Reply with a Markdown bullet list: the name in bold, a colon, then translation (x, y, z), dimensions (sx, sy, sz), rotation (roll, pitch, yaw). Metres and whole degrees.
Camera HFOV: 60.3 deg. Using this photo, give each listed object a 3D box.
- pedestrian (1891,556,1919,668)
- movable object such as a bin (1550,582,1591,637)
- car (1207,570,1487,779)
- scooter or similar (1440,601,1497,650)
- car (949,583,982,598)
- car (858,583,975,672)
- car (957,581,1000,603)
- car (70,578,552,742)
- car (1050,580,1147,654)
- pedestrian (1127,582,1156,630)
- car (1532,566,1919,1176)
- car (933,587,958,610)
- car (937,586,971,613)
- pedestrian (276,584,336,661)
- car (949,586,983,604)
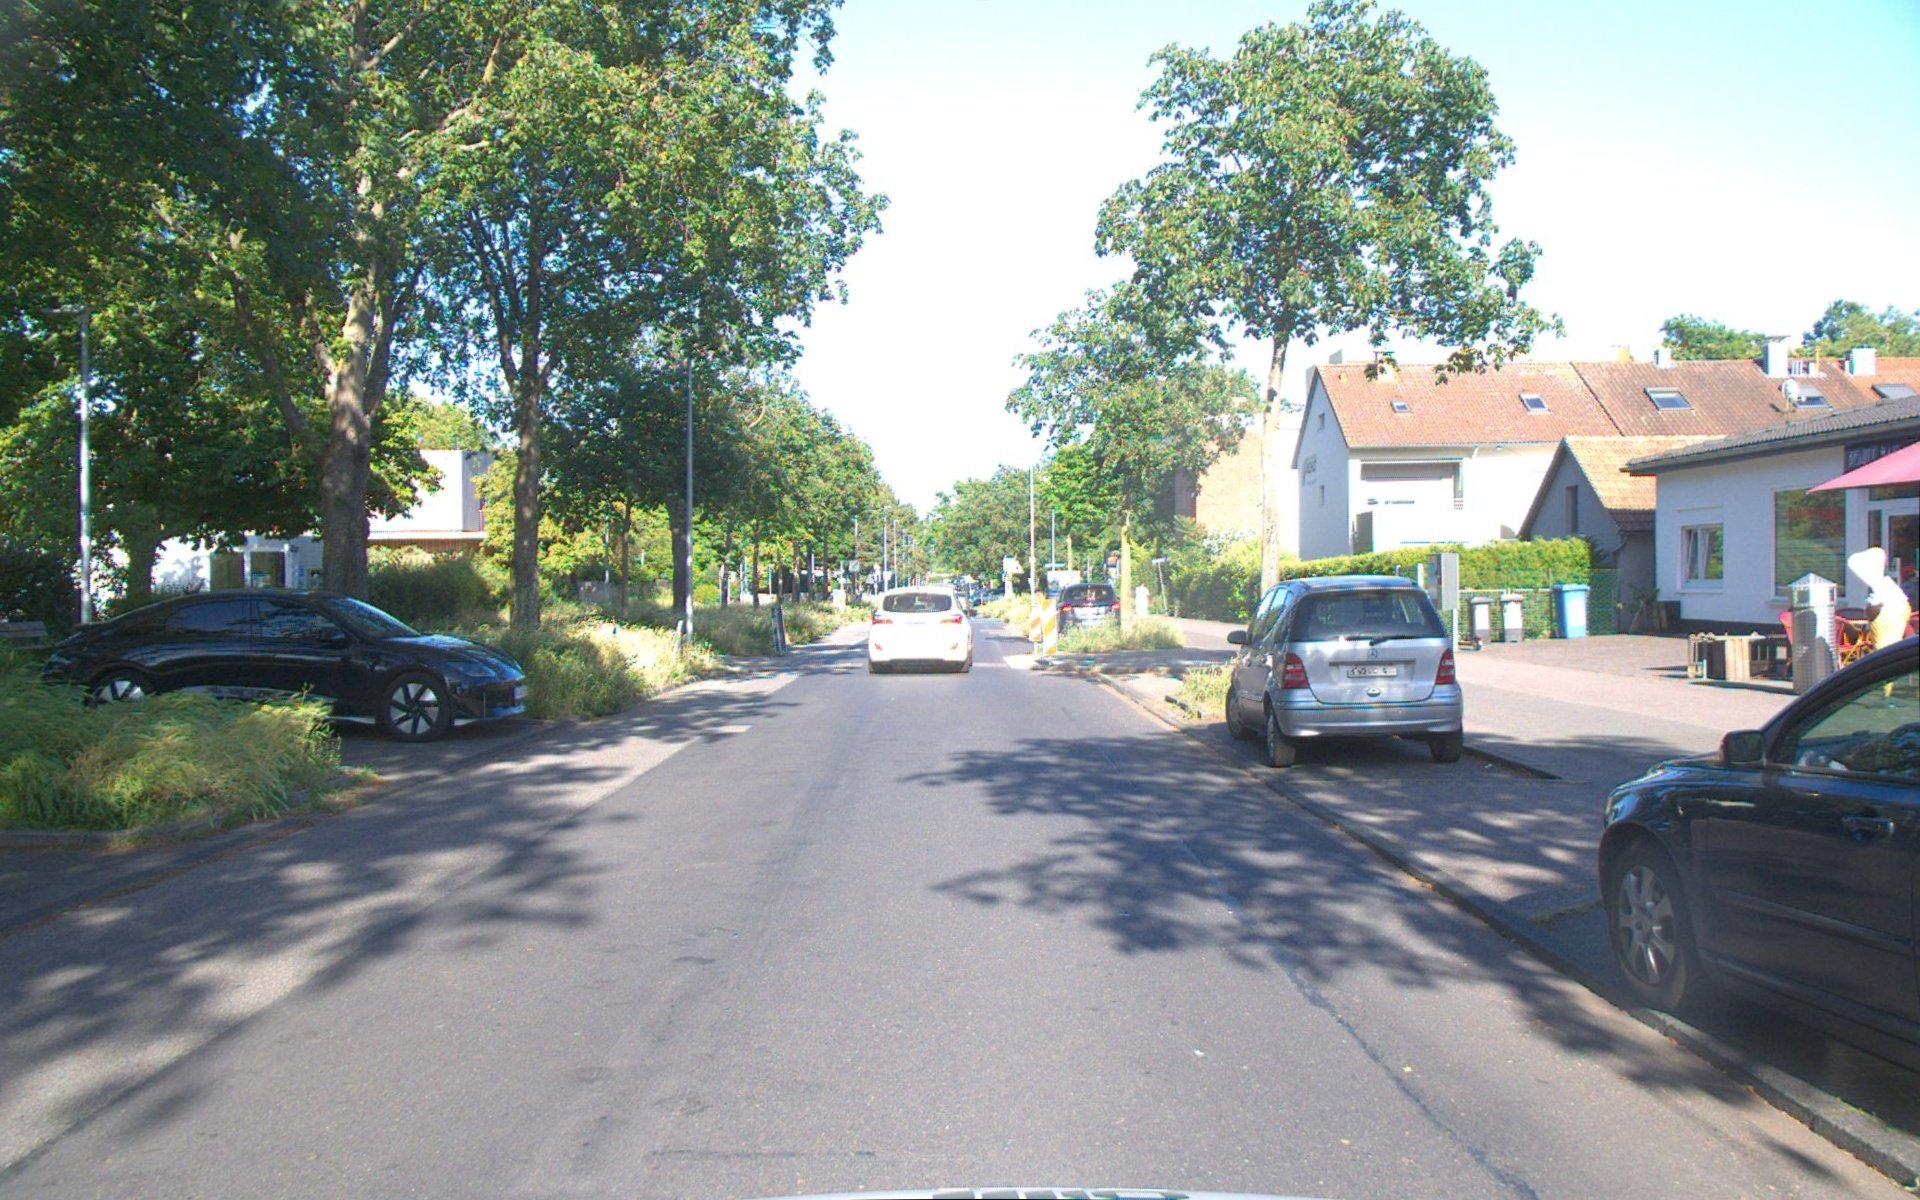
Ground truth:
- **pedestrian**: translation (12.339, 0.156, 21.226), dimensions (0.430, 1.409, 0.639), rotation (1, 0, 5)
- **movable object such as a bin**: translation (12.135, 0.182, 32.898), dimensions (0.483, 1.049, 0.747), rotation (-3, 0, -2)
- **car**: translation (3.509, 0.604, 15.785), dimensions (1.577, 1.650, 4.381), rotation (2, 0, 0)
- **scooter or similar**: translation (9.480, 0.461, 30.871), dimensions (0.361, 0.873, 1.407), rotation (0, 0, -14)
- **car**: translation (0.671, -1.177, 203.340), dimensions (3.907, 1.780, 1.999), rotation (0, 0, -3)
- **car**: translation (-0.719, 0.442, 30.112), dimensions (1.952, 1.480, 4.225), rotation (0, 1, 1)
- **car**: translation (1.693, -0.742, 151.054), dimensions (3.906, 2.049, 1.999), rotation (0, 0, -2)
- **car**: translation (-6.639, 0.594, 17.282), dimensions (4.279, 1.558, 1.807), rotation (1, 0, -2)
- **car**: translation (3.527, 0.427, 42.783), dimensions (1.954, 1.758, 3.998), rotation (-2, 0, -3)
- **pedestrian**: translation (8.012, 0.278, 72.861), dimensions (1.090, 2.049, 0.921), rotation (2, 0, -1)
- **car**: translation (3.584, 0.775, 4.724), dimensions (1.955, 1.650, 4.376), rotation (3, 0, -6)
- **car**: translation (-1.052, -0.106, 121.049), dimensions (1.780, 1.534, 3.658), rotation (3, 0, -1)
- **car**: translation (-0.358, -0.024, 100.509), dimensions (1.953, 1.534, 3.658), rotation (3, 0, -1)
- **pedestrian**: translation (-16.257, 0.551, 41.155), dimensions (1.205, 1.859, 1.543), rotation (1, -1, -17)
- **car**: translation (0.741, -0.576, 193.068), dimensions (3.906, 2.049, 1.999), rotation (0, 0, -2)
